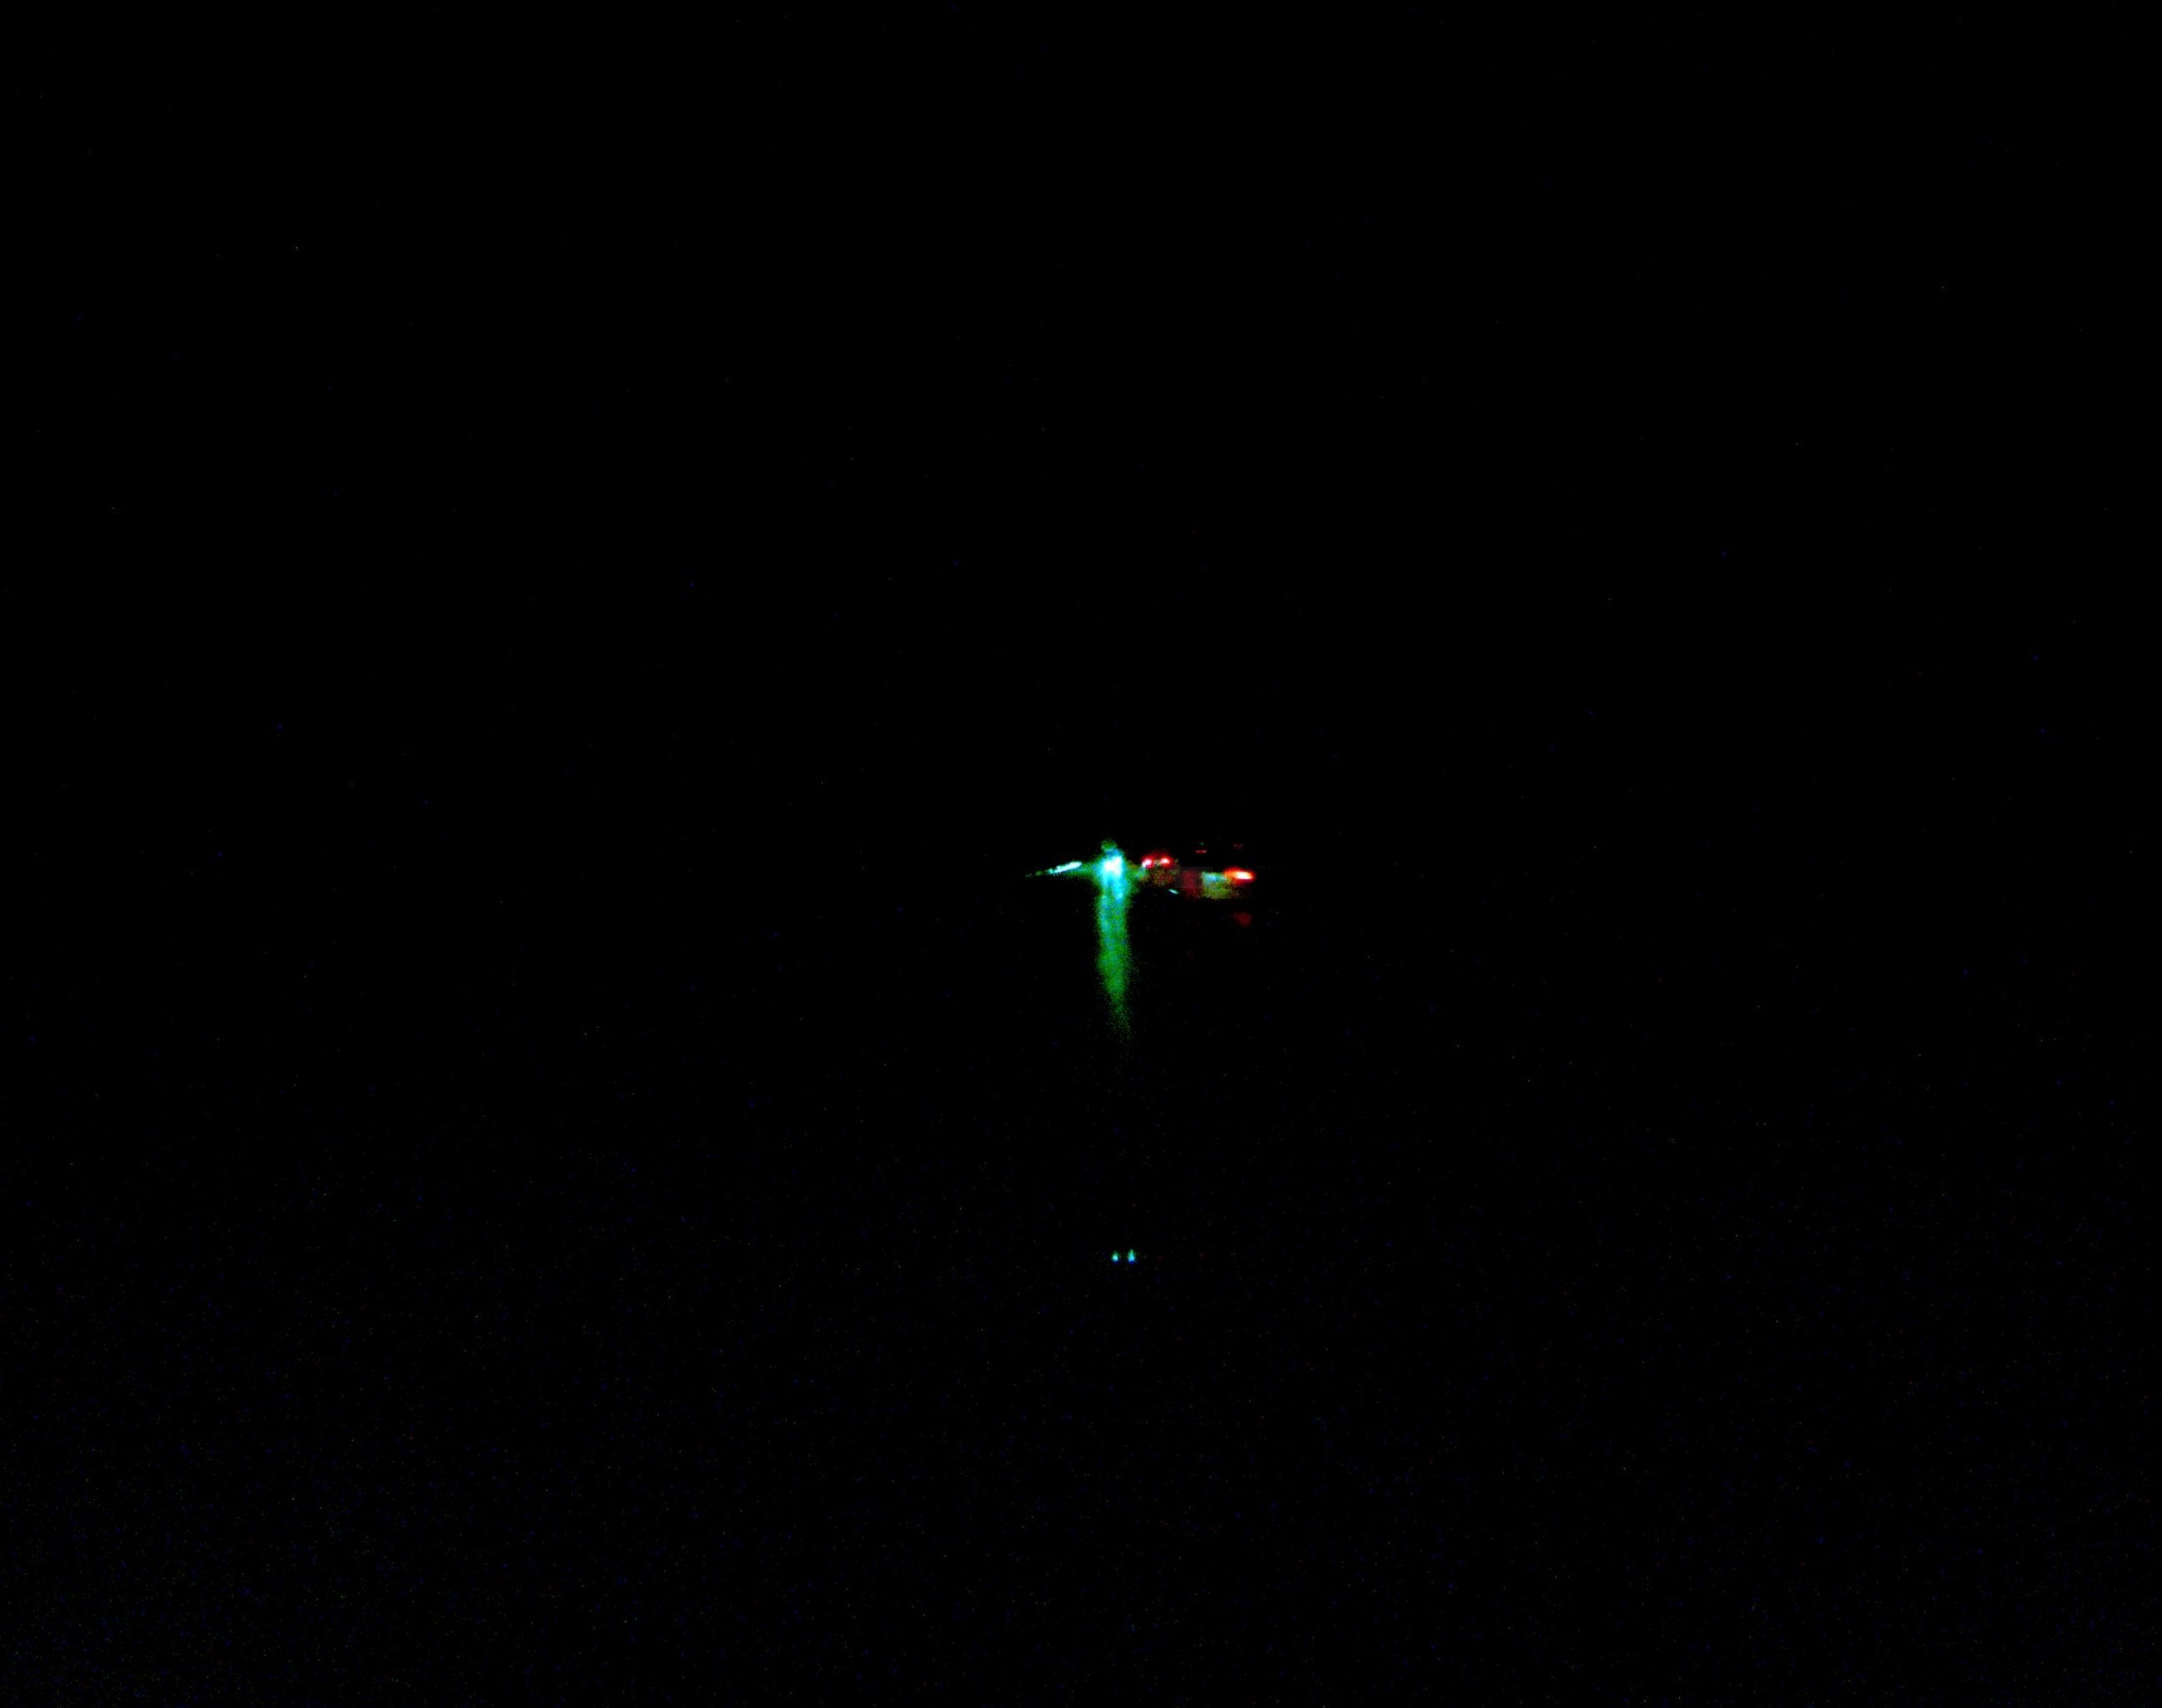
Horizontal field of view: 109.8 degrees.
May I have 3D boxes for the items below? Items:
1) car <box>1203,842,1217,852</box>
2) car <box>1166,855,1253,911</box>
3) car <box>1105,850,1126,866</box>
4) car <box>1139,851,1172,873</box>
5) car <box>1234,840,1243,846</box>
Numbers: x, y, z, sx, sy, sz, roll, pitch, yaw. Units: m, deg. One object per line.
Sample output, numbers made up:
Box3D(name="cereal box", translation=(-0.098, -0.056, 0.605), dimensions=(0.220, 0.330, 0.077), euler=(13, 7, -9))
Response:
Box3D(name="car", translation=(26.362, -1.479, 154.942), dimensions=(1.995, 1.915, 4.005), euler=(-1, 1, 22))
Box3D(name="car", translation=(3.571, 0.751, 21.811), dimensions=(1.810, 1.331, 4.188), euler=(-2, 1, 1))
Box3D(name="car", translation=(3.595, 0.407, 78.966), dimensions=(1.806, 1.452, 4.277), euler=(-2, 1, 7))
Box3D(name="car", translation=(5.303, 0.552, 54.530), dimensions=(1.998, 1.463, 3.836), euler=(-2, 0, 2))
Box3D(name="car", translation=(50.262, -3.476, 242.837), dimensions=(1.995, 1.740, 4.264), euler=(-1, 1, 23))
